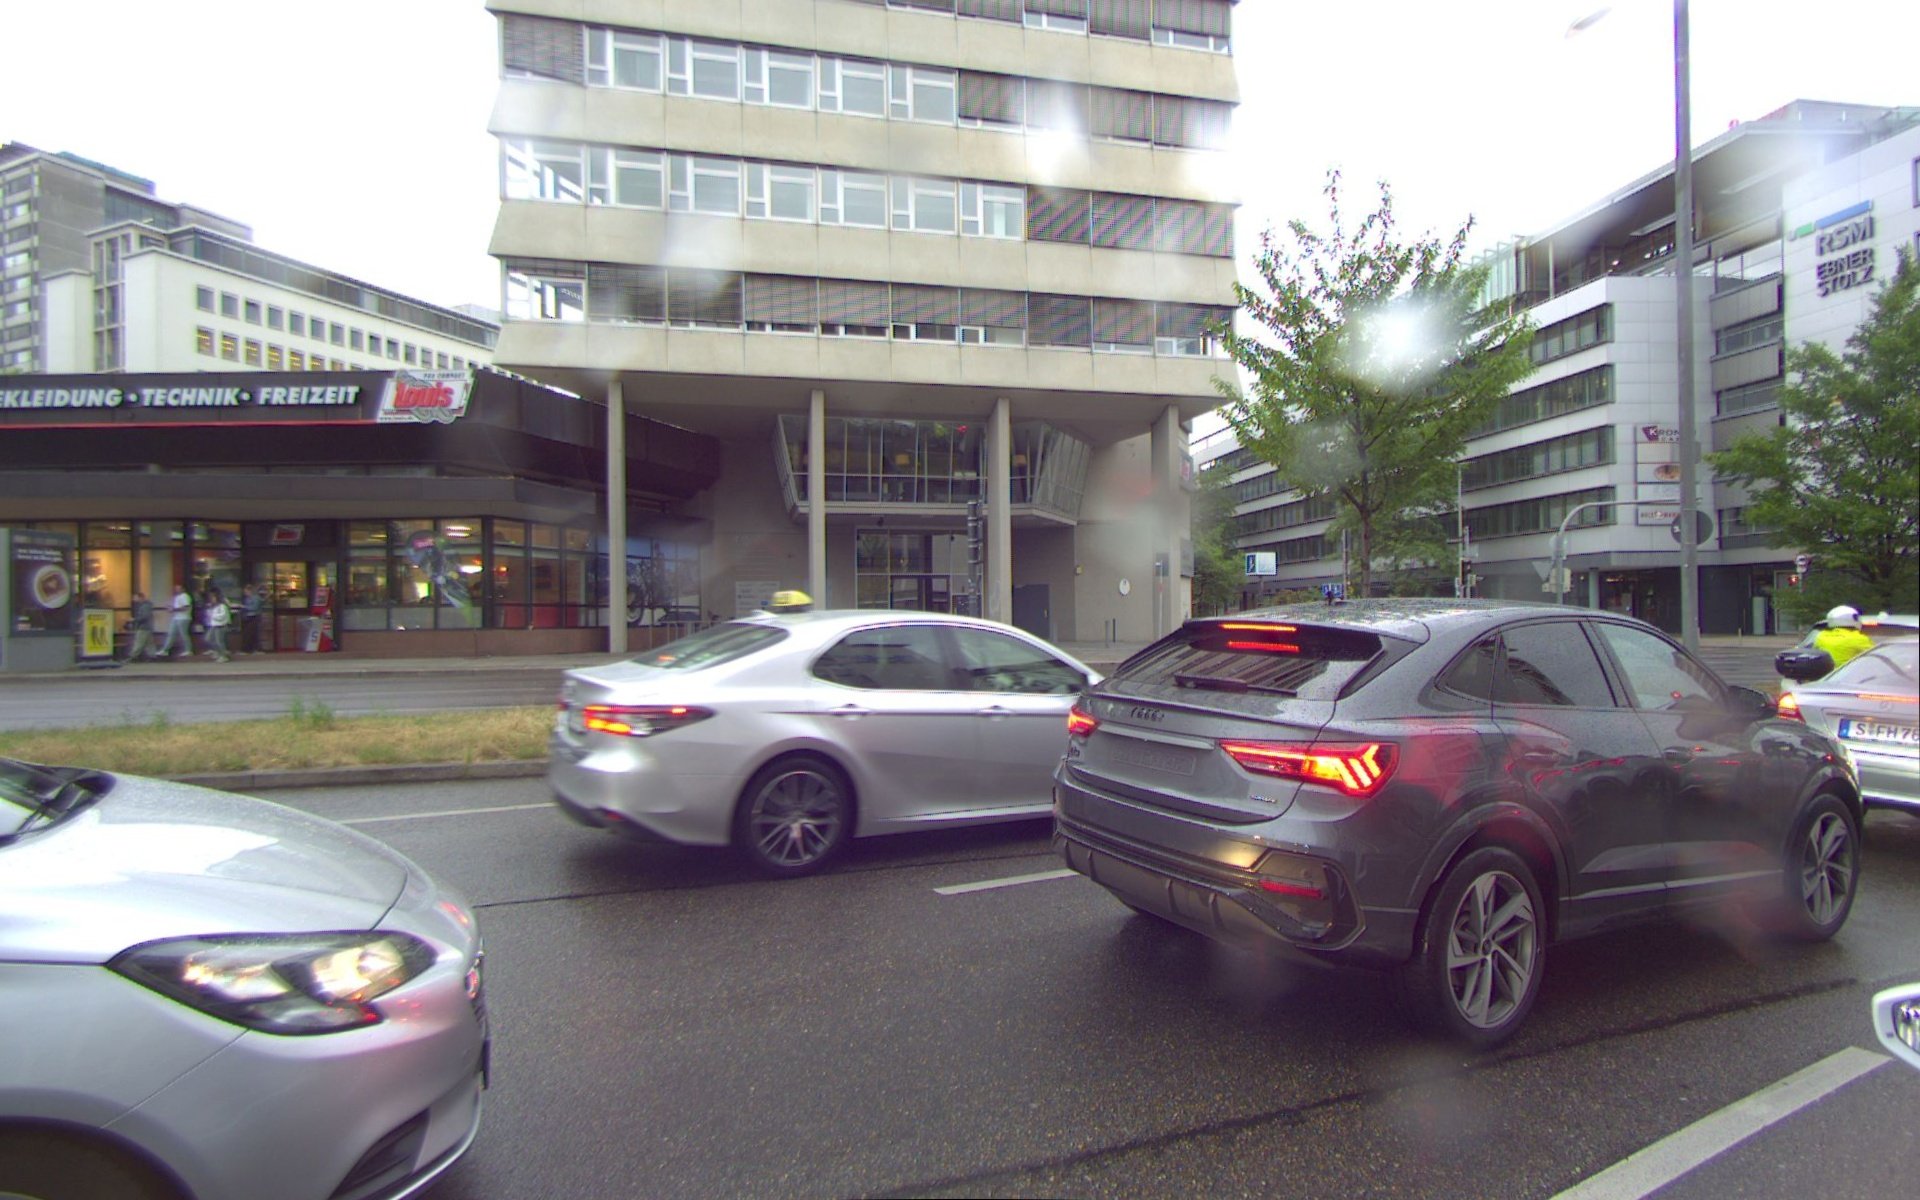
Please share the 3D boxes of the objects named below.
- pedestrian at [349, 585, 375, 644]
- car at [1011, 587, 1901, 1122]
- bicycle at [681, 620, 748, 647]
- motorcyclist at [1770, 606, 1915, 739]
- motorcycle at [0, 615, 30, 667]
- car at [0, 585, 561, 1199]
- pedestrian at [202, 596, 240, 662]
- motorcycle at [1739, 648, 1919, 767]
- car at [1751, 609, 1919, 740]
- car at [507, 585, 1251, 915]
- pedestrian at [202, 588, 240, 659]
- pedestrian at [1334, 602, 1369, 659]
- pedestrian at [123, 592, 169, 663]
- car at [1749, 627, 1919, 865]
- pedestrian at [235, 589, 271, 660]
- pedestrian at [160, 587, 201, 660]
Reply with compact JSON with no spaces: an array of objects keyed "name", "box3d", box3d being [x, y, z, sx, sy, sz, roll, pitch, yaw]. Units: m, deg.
[{"name":"pedestrian","box3d":[-17.745,0.423,29.806,0.436,1.741,0.509,1,0,3]},{"name":"car","box3d":[2.453,0.759,4.669,4.220,1.542,1.640,1,0,-30]},{"name":"bicycle","box3d":[-8.320,1.127,34.085,2.165,0.871,0.456,2,0,-31]},{"name":"motorcyclist","box3d":[9.805,0.788,11.175,1.101,1.398,0.769,2,0,-21]},{"name":"motorcycle","box3d":[-23.519,0.988,24.192,0.353,1.249,1.669,1,0,20]},{"name":"car","box3d":[-2.851,0.681,1.701,3.831,1.455,1.639,1,0,-32]},{"name":"pedestrian","box3d":[-18.004,0.694,24.469,0.548,1.591,0.541,1,0,-9]},{"name":"motorcycle","box3d":[9.773,1.165,11.195,1.998,1.200,0.799,2,0,-21]},{"name":"car","box3d":[12.643,0.934,13.211,3.940,1.506,1.704,2,0,-21]},{"name":"car","box3d":[-0.362,0.731,6.801,4.726,1.554,1.854,1,0,-33]},{"name":"pedestrian","box3d":[-18.584,0.592,25.266,0.548,1.767,0.541,1,0,-9]},{"name":"pedestrian","box3d":[12.030,0.932,30.878,0.751,1.706,0.677,1,0,-16]},{"name":"pedestrian","box3d":[-19.155,0.636,23.637,0.601,1.633,0.614,1,0,-9]},{"name":"car","box3d":[7.691,0.968,7.069,4.050,1.426,1.567,2,0,-22]},{"name":"pedestrian","box3d":[-17.790,0.617,25.287,0.548,1.767,0.541,1,0,-9]},{"name":"pedestrian","box3d":[-19.170,0.572,24.699,0.548,1.767,0.614,1,0,-9]}]
